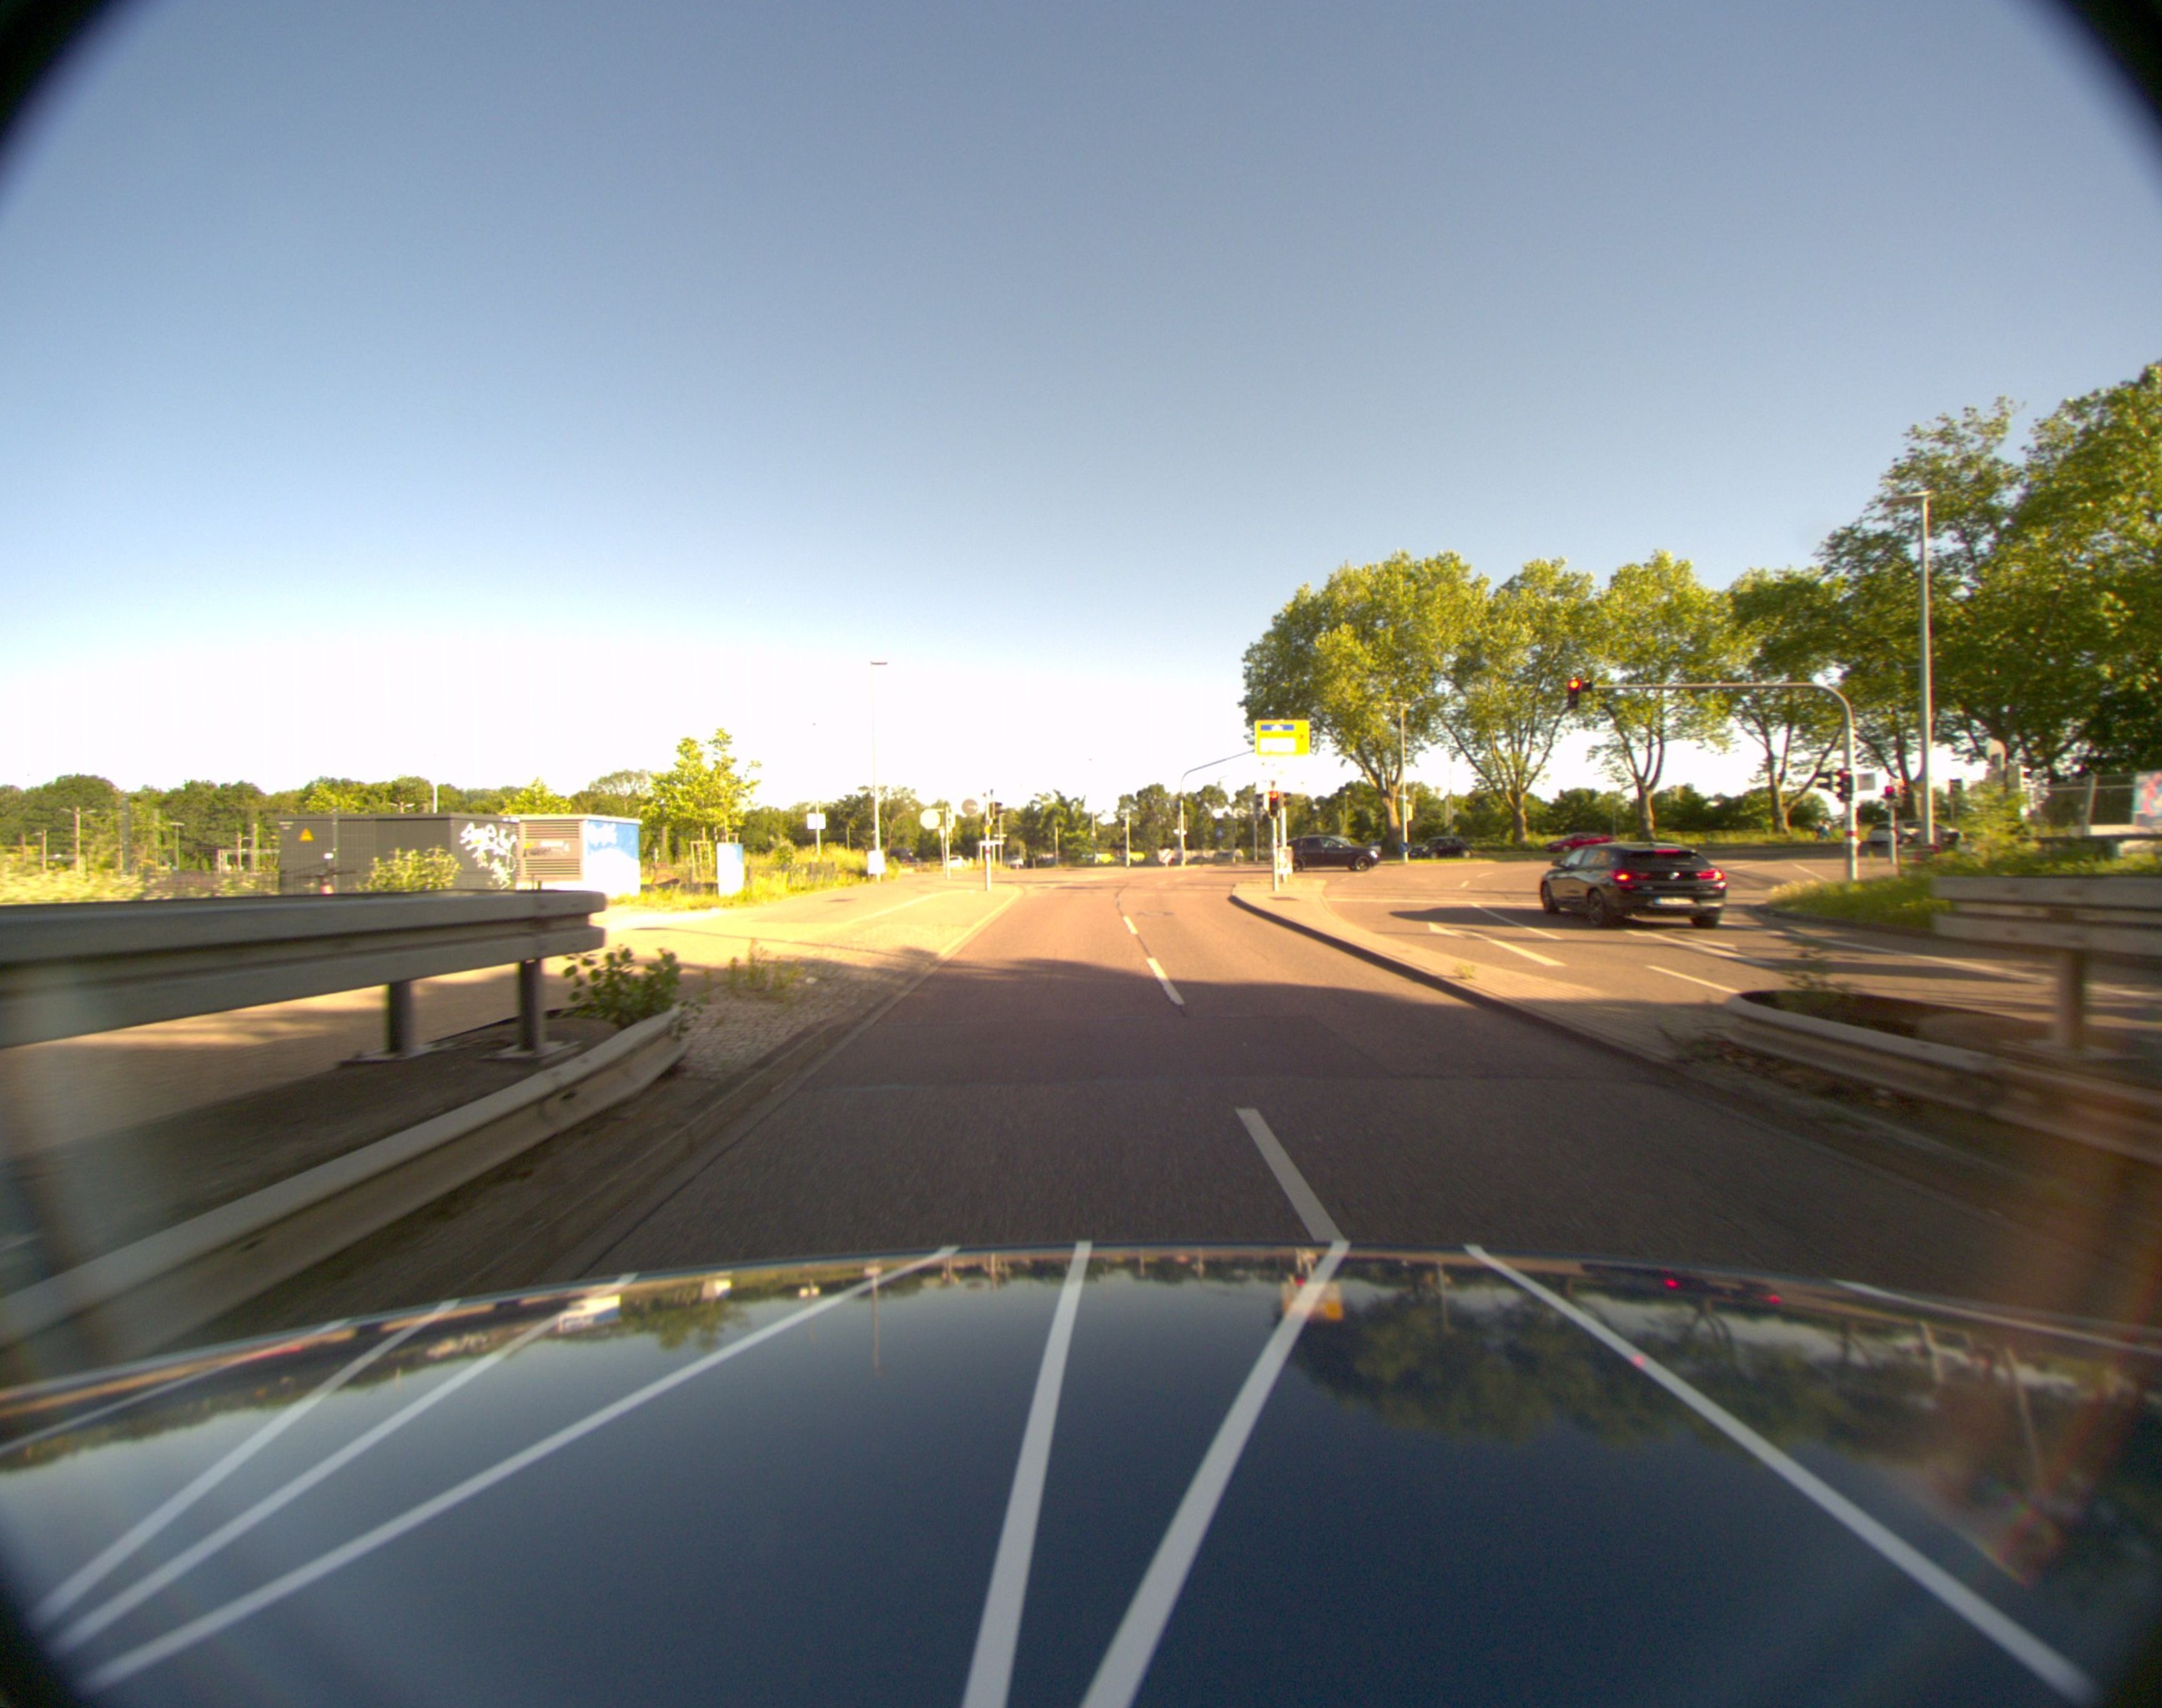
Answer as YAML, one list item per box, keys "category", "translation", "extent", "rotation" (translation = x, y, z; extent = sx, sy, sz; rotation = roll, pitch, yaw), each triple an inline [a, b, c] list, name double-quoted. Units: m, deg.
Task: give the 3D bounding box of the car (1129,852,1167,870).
- category: "car"
  translation: [6.424, 0.667, 72.984]
  extent: [1.843, 1.673, 3.992]
  rotation: [-2, 0, -24]

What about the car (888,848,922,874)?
- category: "car"
  translation: [-17.654, 0.712, 76.344]
  extent: [2.401, 2.502, 5.510]
  rotation: [-2, 0, -4]

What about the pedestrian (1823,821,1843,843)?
- category: "pedestrian"
  translation: [56.464, -1.627, 57.060]
  extent: [0.803, 1.582, 0.731]
  rotation: [-2, 0, 3]

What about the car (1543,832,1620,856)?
- category: "car"
  translation: [36.559, -0.692, 55.563]
  extent: [4.320, 1.590, 1.860]
  rotation: [-2, 1, 6]

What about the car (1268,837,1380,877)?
- category: "car"
  translation: [11.355, 0.119, 35.856]
  extent: [4.744, 1.704, 2.049]
  rotation: [-2, 1, 8]

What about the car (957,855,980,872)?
- category: "car"
  translation: [-12.228, 0.999, 82.588]
  extent: [1.986, 1.798, 4.201]
  rotation: [-2, 0, -3]

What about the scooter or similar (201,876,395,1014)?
- category: "scooter or similar"
  translation: [-7.724, 0.850, 7.574]
  extent: [0.538, 1.190, 1.291]
  rotation: [-2, 1, 1]

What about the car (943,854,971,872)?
- category: "car"
  translation: [-10.801, 0.774, 66.404]
  extent: [1.890, 1.502, 4.272]
  rotation: [-2, 0, -3]

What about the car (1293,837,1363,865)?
- category: "car"
  translation: [15.771, -0.210, 48.474]
  extent: [4.127, 1.626, 1.916]
  rotation: [-2, 1, -30]

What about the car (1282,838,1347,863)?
- category: "car"
  translation: [17.367, -0.271, 56.540]
  extent: [4.262, 1.733, 1.860]
  rotation: [-1, 0, 3]

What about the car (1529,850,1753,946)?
- category: "car"
  translation: [10.379, 0.703, 14.556]
  extent: [1.953, 1.509, 4.391]
  rotation: [-1, 1, 14]

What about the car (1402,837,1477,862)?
- category: "car"
  translation: [22.168, -0.303, 46.980]
  extent: [3.939, 1.419, 1.906]
  rotation: [-2, 1, -18]

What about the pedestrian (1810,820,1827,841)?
- category: "pedestrian"
  translation: [56.643, -1.811, 58.329]
  extent: [0.631, 1.577, 0.665]
  rotation: [-2, 0, 3]

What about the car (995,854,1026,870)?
- category: "car"
  translation: [-7.861, 0.896, 84.525]
  extent: [2.180, 1.720, 4.484]
  rotation: [-2, 0, -23]

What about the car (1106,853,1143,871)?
- category: "car"
  translation: [4.118, 0.751, 72.414]
  extent: [2.016, 1.655, 3.844]
  rotation: [-2, 0, -24]

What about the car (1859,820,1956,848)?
- category: "car"
  translation: [47.602, -1.130, 43.797]
  extent: [3.937, 1.419, 1.975]
  rotation: [-2, 0, -11]

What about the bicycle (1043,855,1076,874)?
- category: "bicycle"
  translation: [-2.004, 0.966, 69.548]
  extent: [2.948, 1.607, 0.908]
  rotation: [-2, 1, 34]
